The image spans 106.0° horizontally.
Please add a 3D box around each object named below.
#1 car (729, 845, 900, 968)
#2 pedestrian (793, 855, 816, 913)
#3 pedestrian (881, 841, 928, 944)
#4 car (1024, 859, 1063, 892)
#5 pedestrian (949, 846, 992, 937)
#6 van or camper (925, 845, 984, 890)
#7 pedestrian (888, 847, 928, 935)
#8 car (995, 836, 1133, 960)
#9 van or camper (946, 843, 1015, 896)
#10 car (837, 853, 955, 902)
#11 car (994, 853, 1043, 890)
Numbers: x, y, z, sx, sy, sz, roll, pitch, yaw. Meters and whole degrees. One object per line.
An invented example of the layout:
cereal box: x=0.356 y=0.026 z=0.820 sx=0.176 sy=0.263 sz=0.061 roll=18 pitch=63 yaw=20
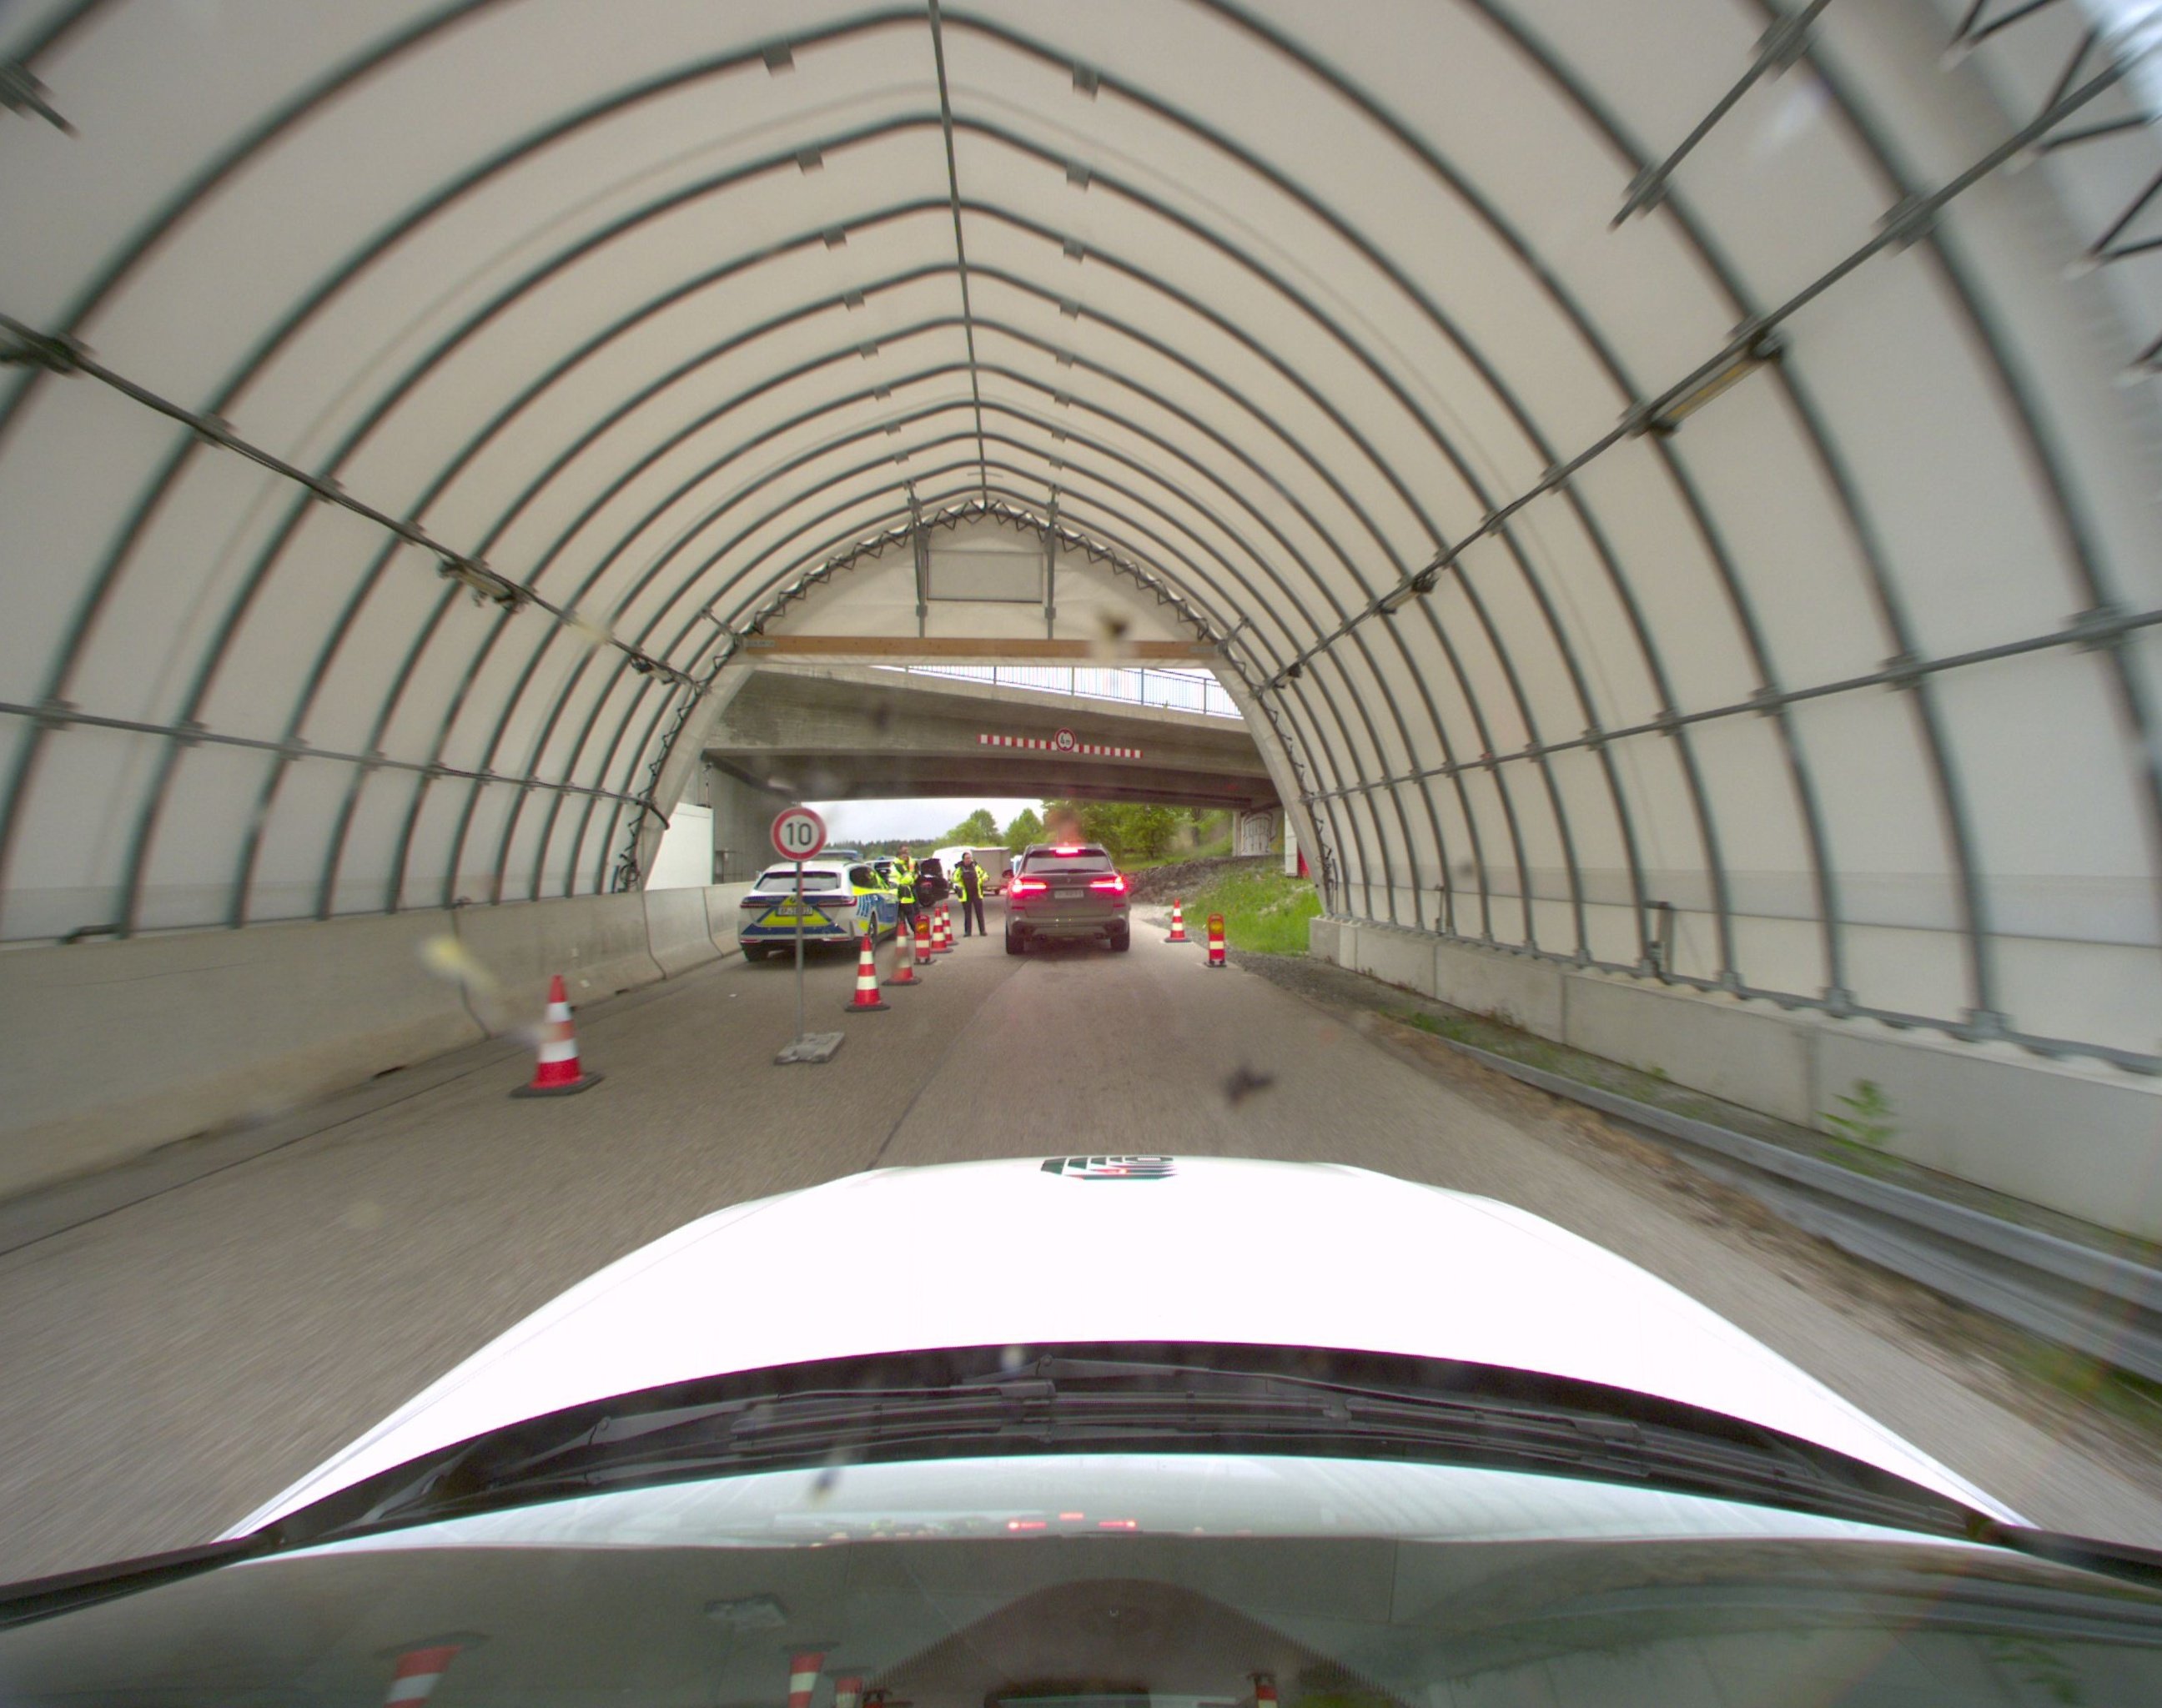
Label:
car: x=-4.182 y=0.746 z=13.453 sx=1.876 sy=1.646 sz=3.990 roll=-2 pitch=0 yaw=-7
pedestrian: x=-9.861 y=1.057 z=29.061 sx=0.624 sy=2.014 sz=0.654 roll=-2 pitch=-1 yaw=-9
pedestrian: x=-3.407 y=0.722 z=15.763 sx=0.748 sy=1.919 sz=0.761 roll=-2 pitch=-1 yaw=-7
car: x=-2.141 y=1.190 z=46.070 sx=1.990 sy=1.722 sz=3.889 roll=-2 pitch=0 yaw=-5
pedestrian: x=-2.176 y=0.721 z=16.056 sx=0.779 sy=1.722 sz=0.755 roll=-2 pitch=-1 yaw=-8
van or camper: x=-7.807 y=0.831 z=49.621 sx=2.114 sy=2.519 sz=5.506 roll=-1 pitch=0 yaw=-24
pedestrian: x=-3.549 y=0.746 z=16.758 sx=0.606 sy=1.754 sz=0.666 roll=-2 pitch=-1 yaw=2
car: x=-0.290 y=0.665 z=14.094 sx=1.988 sy=1.765 sz=3.997 roll=-2 pitch=0 yaw=-1
van or camper: x=-5.518 y=0.835 z=43.828 sx=2.238 sy=2.552 sz=6.566 roll=-2 pitch=0 yaw=-20
car: x=-8.233 y=1.052 z=36.321 sx=4.770 sy=2.014 sz=1.848 roll=-2 pitch=-1 yaw=14
car: x=-4.255 y=1.191 z=54.955 sx=2.004 sy=2.346 sz=3.966 roll=-1 pitch=0 yaw=-26
